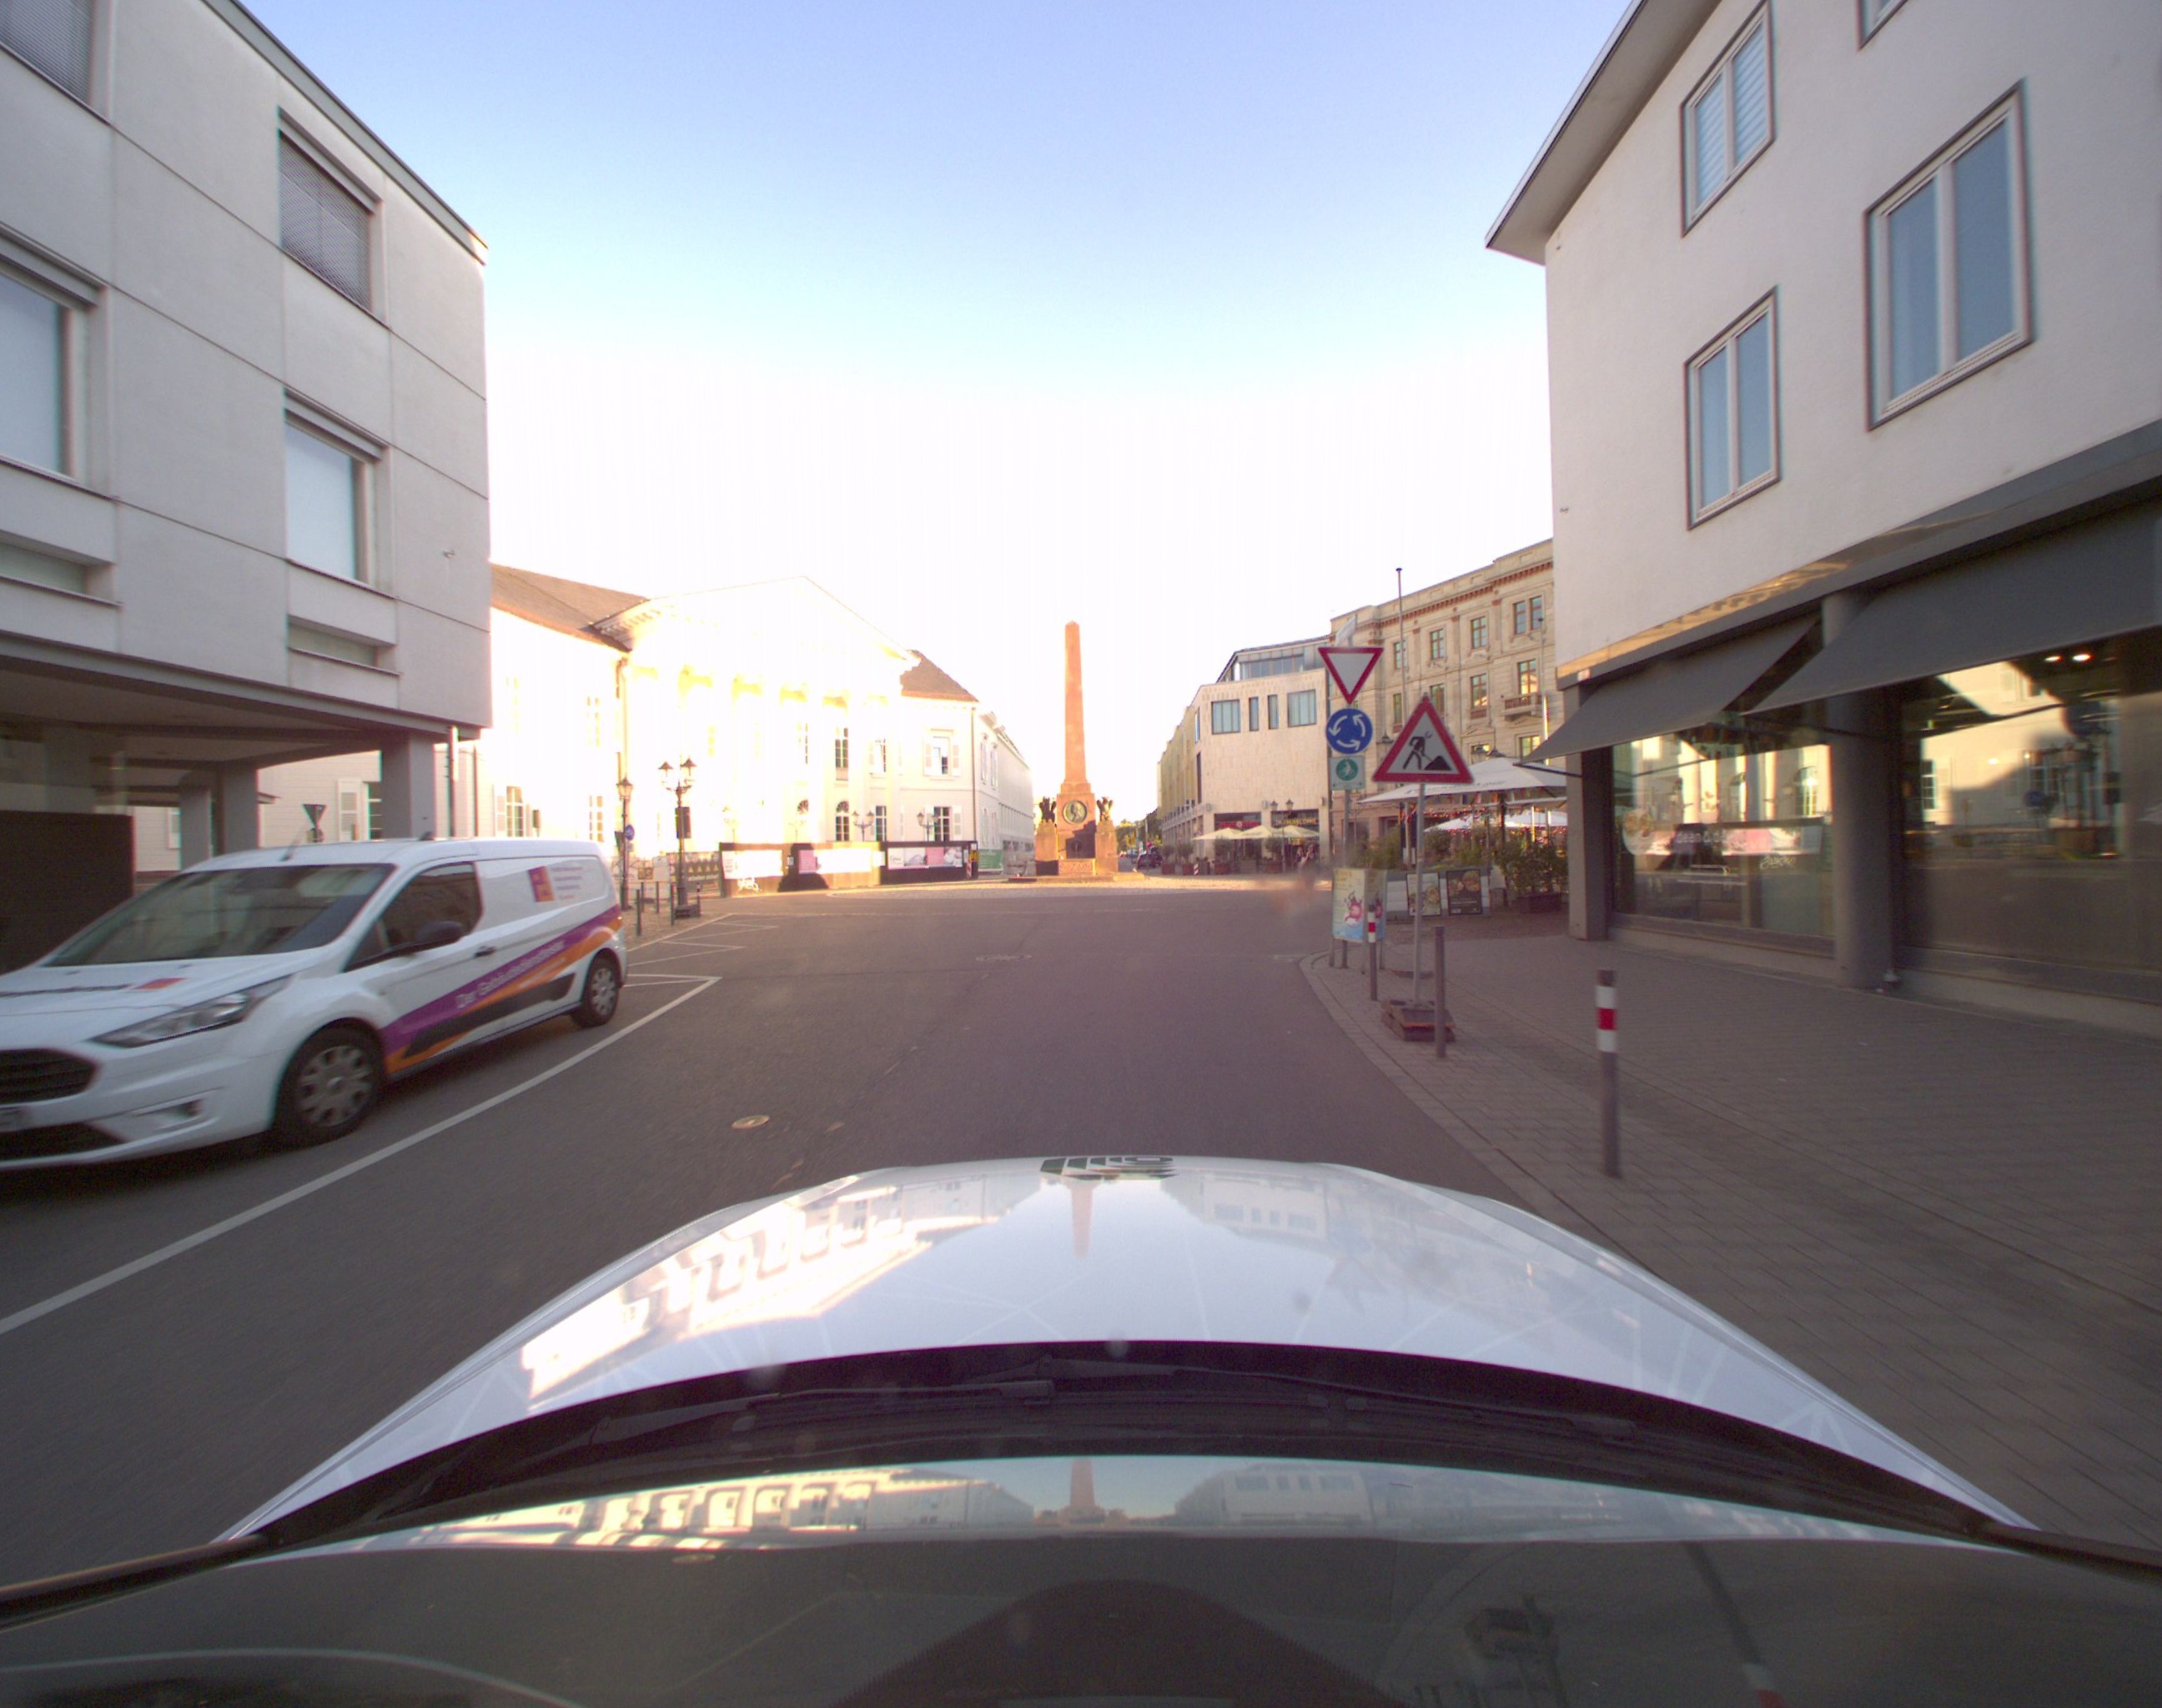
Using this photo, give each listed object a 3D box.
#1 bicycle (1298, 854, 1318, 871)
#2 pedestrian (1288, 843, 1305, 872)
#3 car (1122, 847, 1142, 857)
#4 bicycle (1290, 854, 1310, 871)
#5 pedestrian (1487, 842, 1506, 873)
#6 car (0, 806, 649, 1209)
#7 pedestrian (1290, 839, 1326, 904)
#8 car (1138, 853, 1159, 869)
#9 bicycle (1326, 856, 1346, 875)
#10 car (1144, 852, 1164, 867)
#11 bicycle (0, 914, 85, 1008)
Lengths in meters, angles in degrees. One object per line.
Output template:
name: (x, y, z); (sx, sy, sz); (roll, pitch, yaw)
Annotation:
bicycle: (14.152, 0.542, 50.708); (0.613, 1.031, 1.656); (-2, 0, 37)
pedestrian: (13.197, 0.235, 49.900); (0.899, 1.728, 0.852); (-2, 0, 10)
car: (11.259, -0.413, 180.416); (3.948, 2.013, 2.013); (-2, 0, 39)
bicycle: (13.790, 0.526, 51.266); (0.593, 1.031, 1.656); (-2, 0, 37)
pedestrian: (20.339, 0.185, 39.827); (0.584, 1.478, 0.685); (-2, 0, 5)
car: (-5.336, 0.698, 6.040); (1.990, 1.816, 4.776); (-1, 0, -5)
pedestrian: (5.869, 0.442, 21.084); (0.687, 1.647, 0.696); (-2, 0, 1)
car: (6.531, 0.657, 79.225); (1.985, 1.464, 4.004); (-1, 0, 4)
bicycle: (14.751, 0.661, 47.118); (0.501, 1.031, 1.656); (-2, 0, 37)
car: (7.807, 0.580, 87.667); (1.985, 1.464, 4.004); (-1, 0, 4)
bicycle: (-12.309, 1.216, 8.579); (0.730, 0.983, 2.336); (-1, 0, 1)
